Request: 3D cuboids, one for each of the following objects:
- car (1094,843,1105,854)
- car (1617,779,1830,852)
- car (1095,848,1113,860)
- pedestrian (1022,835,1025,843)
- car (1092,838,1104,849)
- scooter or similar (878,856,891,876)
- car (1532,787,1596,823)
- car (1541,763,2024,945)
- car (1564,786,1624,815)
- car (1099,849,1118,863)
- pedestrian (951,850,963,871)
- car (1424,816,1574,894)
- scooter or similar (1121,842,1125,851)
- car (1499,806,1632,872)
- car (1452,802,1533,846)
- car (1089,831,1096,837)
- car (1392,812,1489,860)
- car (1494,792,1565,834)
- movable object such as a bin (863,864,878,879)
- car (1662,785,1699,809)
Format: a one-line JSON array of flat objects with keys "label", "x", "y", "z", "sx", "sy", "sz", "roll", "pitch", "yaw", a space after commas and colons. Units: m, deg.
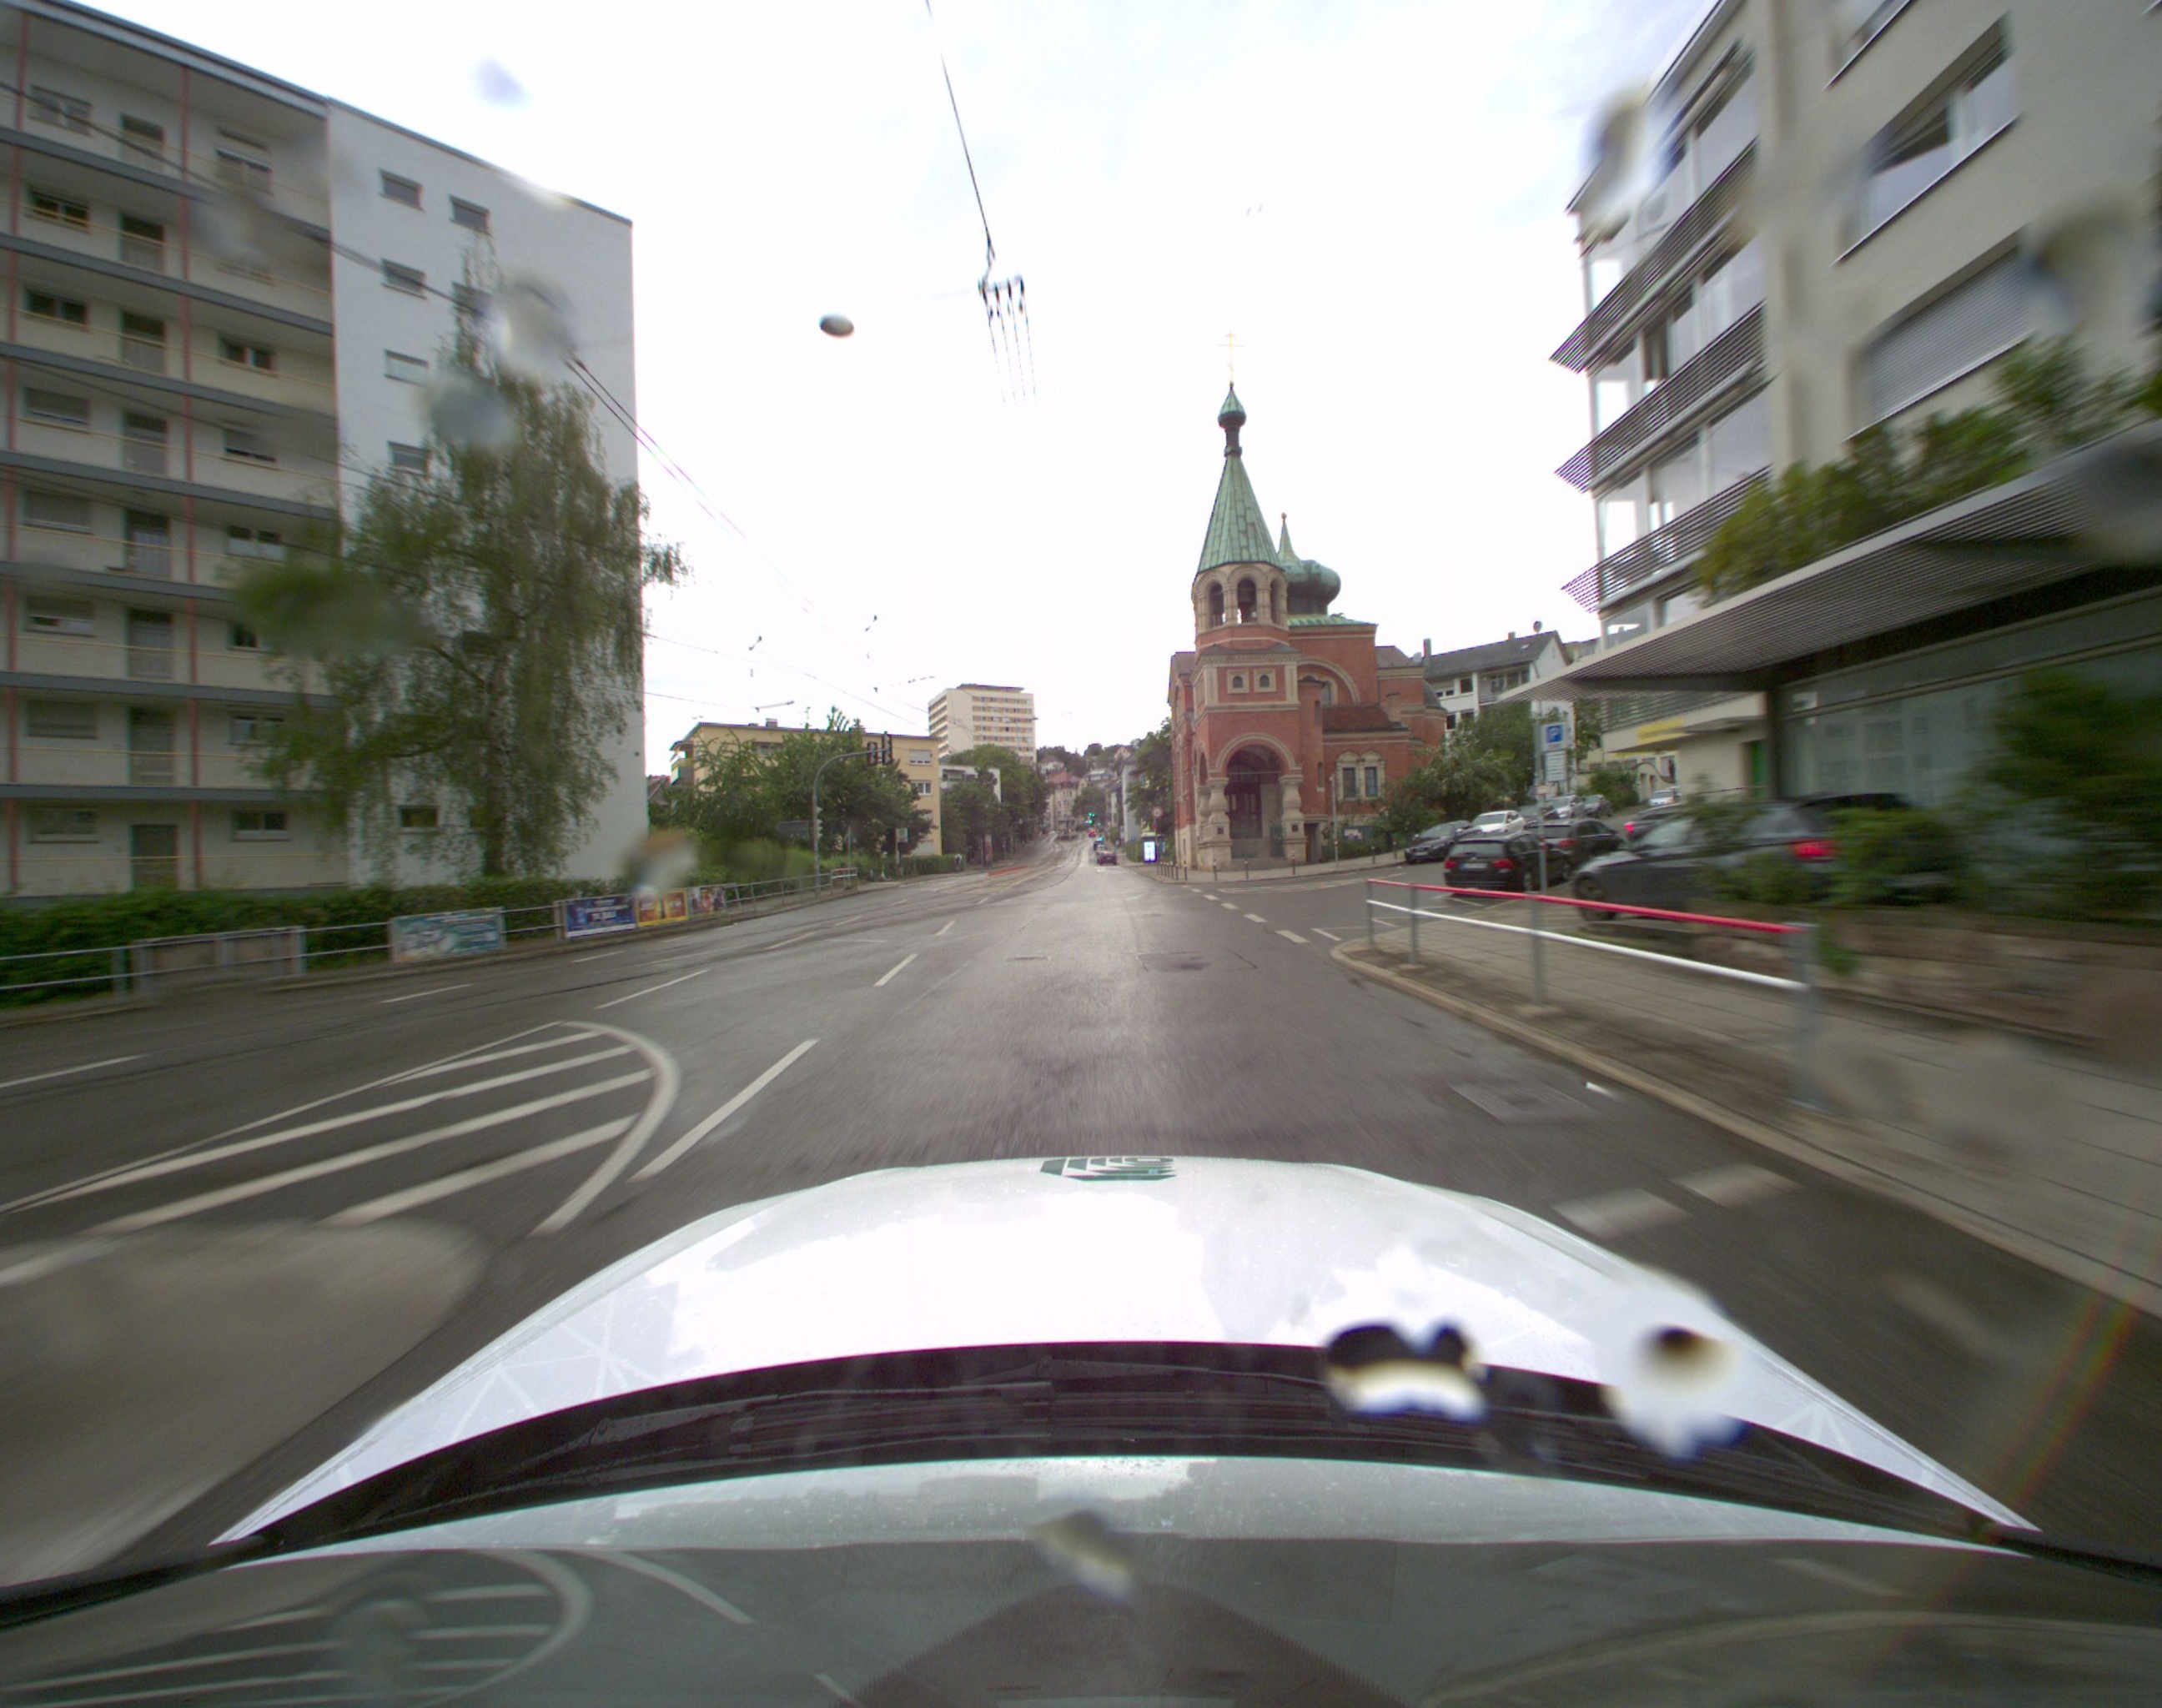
[{"label": "car", "x": 2.861, "y": -0.887, "z": 126.409, "sx": 1.699, "sy": 1.433, "sz": 4.101, "roll": -1, "pitch": 2, "yaw": 0}, {"label": "car", "x": 18.792, "y": -1.081, "z": 24.069, "sx": 2.008, "sy": 1.616, "sz": 4.408, "roll": -7, "pitch": 1, "yaw": -28}, {"label": "car", "x": 2.819, "y": 0.014, "z": 101.415, "sx": 1.934, "sy": 1.464, "sz": 4.204, "roll": -1, "pitch": 0, "yaw": -2}, {"label": "pedestrian", "x": -11.238, "y": -2.904, "z": 158.986, "sx": 0.582, "sy": 1.600, "sz": 0.868, "roll": 0, "pitch": 1, "yaw": -4}, {"label": "car", "x": 2.909, "y": -1.860, "z": 142.687, "sx": 1.900, "sy": 1.641, "sz": 4.689, "roll": -1, "pitch": 2, "yaw": 0}, {"label": "scooter or similar", "x": -12.220, "y": 0.768, "z": 50.658, "sx": 0.572, "sy": 1.184, "sz": 1.596, "roll": -1, "pitch": -1, "yaw": -7}, {"label": "car", "x": 26.044, "y": -2.646, "z": 43.879, "sx": 3.869, "sy": 1.514, "sz": 1.918, "roll": -9, "pitch": 4, "yaw": -44}, {"label": "car", "x": 7.680, "y": 0.048, "z": 9.691, "sx": 1.847, "sy": 1.503, "sz": 4.449, "roll": -5, "pitch": -1, "yaw": 1}, {"label": "car", "x": 30.131, "y": -3.145, "z": 47.799, "sx": 4.475, "sy": 1.506, "sz": 1.918, "roll": -5, "pitch": 1, "yaw": -44}, {"label": "car", "x": 3.037, "y": 0.235, "z": 89.894, "sx": 1.852, "sy": 1.487, "sz": 4.643, "roll": -1, "pitch": 0, "yaw": -1}, {"label": "pedestrian", "x": -10.897, "y": 0.564, "z": 71.663, "sx": 0.917, "sy": 1.846, "sz": 1.016, "roll": -1, "pitch": -1, "yaw": -4}, {"label": "car", "x": 10.320, "y": -0.033, "z": 19.950, "sx": 1.977, "sy": 1.457, "sz": 4.477, "roll": -2, "pitch": 4, "yaw": 44}, {"label": "scooter or similar", "x": 6.576, "y": -1.119, "z": 127.038, "sx": 0.572, "sy": 1.249, "sz": 1.613, "roll": -2, "pitch": 5, "yaw": 6}, {"label": "car", "x": 14.002, "y": -0.454, "z": 23.436, "sx": 4.475, "sy": 1.457, "sz": 1.978, "roll": -7, "pitch": 3, "yaw": -42}, {"label": "car", "x": 18.366, "y": -1.342, "z": 36.253, "sx": 3.953, "sy": 1.495, "sz": 1.923, "roll": -8, "pitch": 2, "yaw": -44}, {"label": "car", "x": 2.941, "y": -5.172, "z": 210.081, "sx": 1.796, "sy": 1.645, "sz": 3.999, "roll": -1, "pitch": 1, "yaw": 0}, {"label": "car", "x": 14.525, "y": -0.760, "z": 32.786, "sx": 4.506, "sy": 1.368, "sz": 1.918, "roll": -8, "pitch": 1, "yaw": -44}, {"label": "car", "x": 21.939, "y": -2.021, "z": 39.794, "sx": 3.653, "sy": 1.443, "sz": 1.918, "roll": -10, "pitch": 1, "yaw": -44}, {"label": "movable object such as a bin", "x": -12.619, "y": 1.045, "z": 48.812, "sx": 0.685, "sy": 0.882, "sz": 0.759, "roll": -1, "pitch": -1, "yaw": -5}, {"label": "car", "x": 47.947, "y": -4.592, "z": 65.078, "sx": 3.852, "sy": 1.578, "sz": 1.672, "roll": -8, "pitch": 3, "yaw": -44}]
